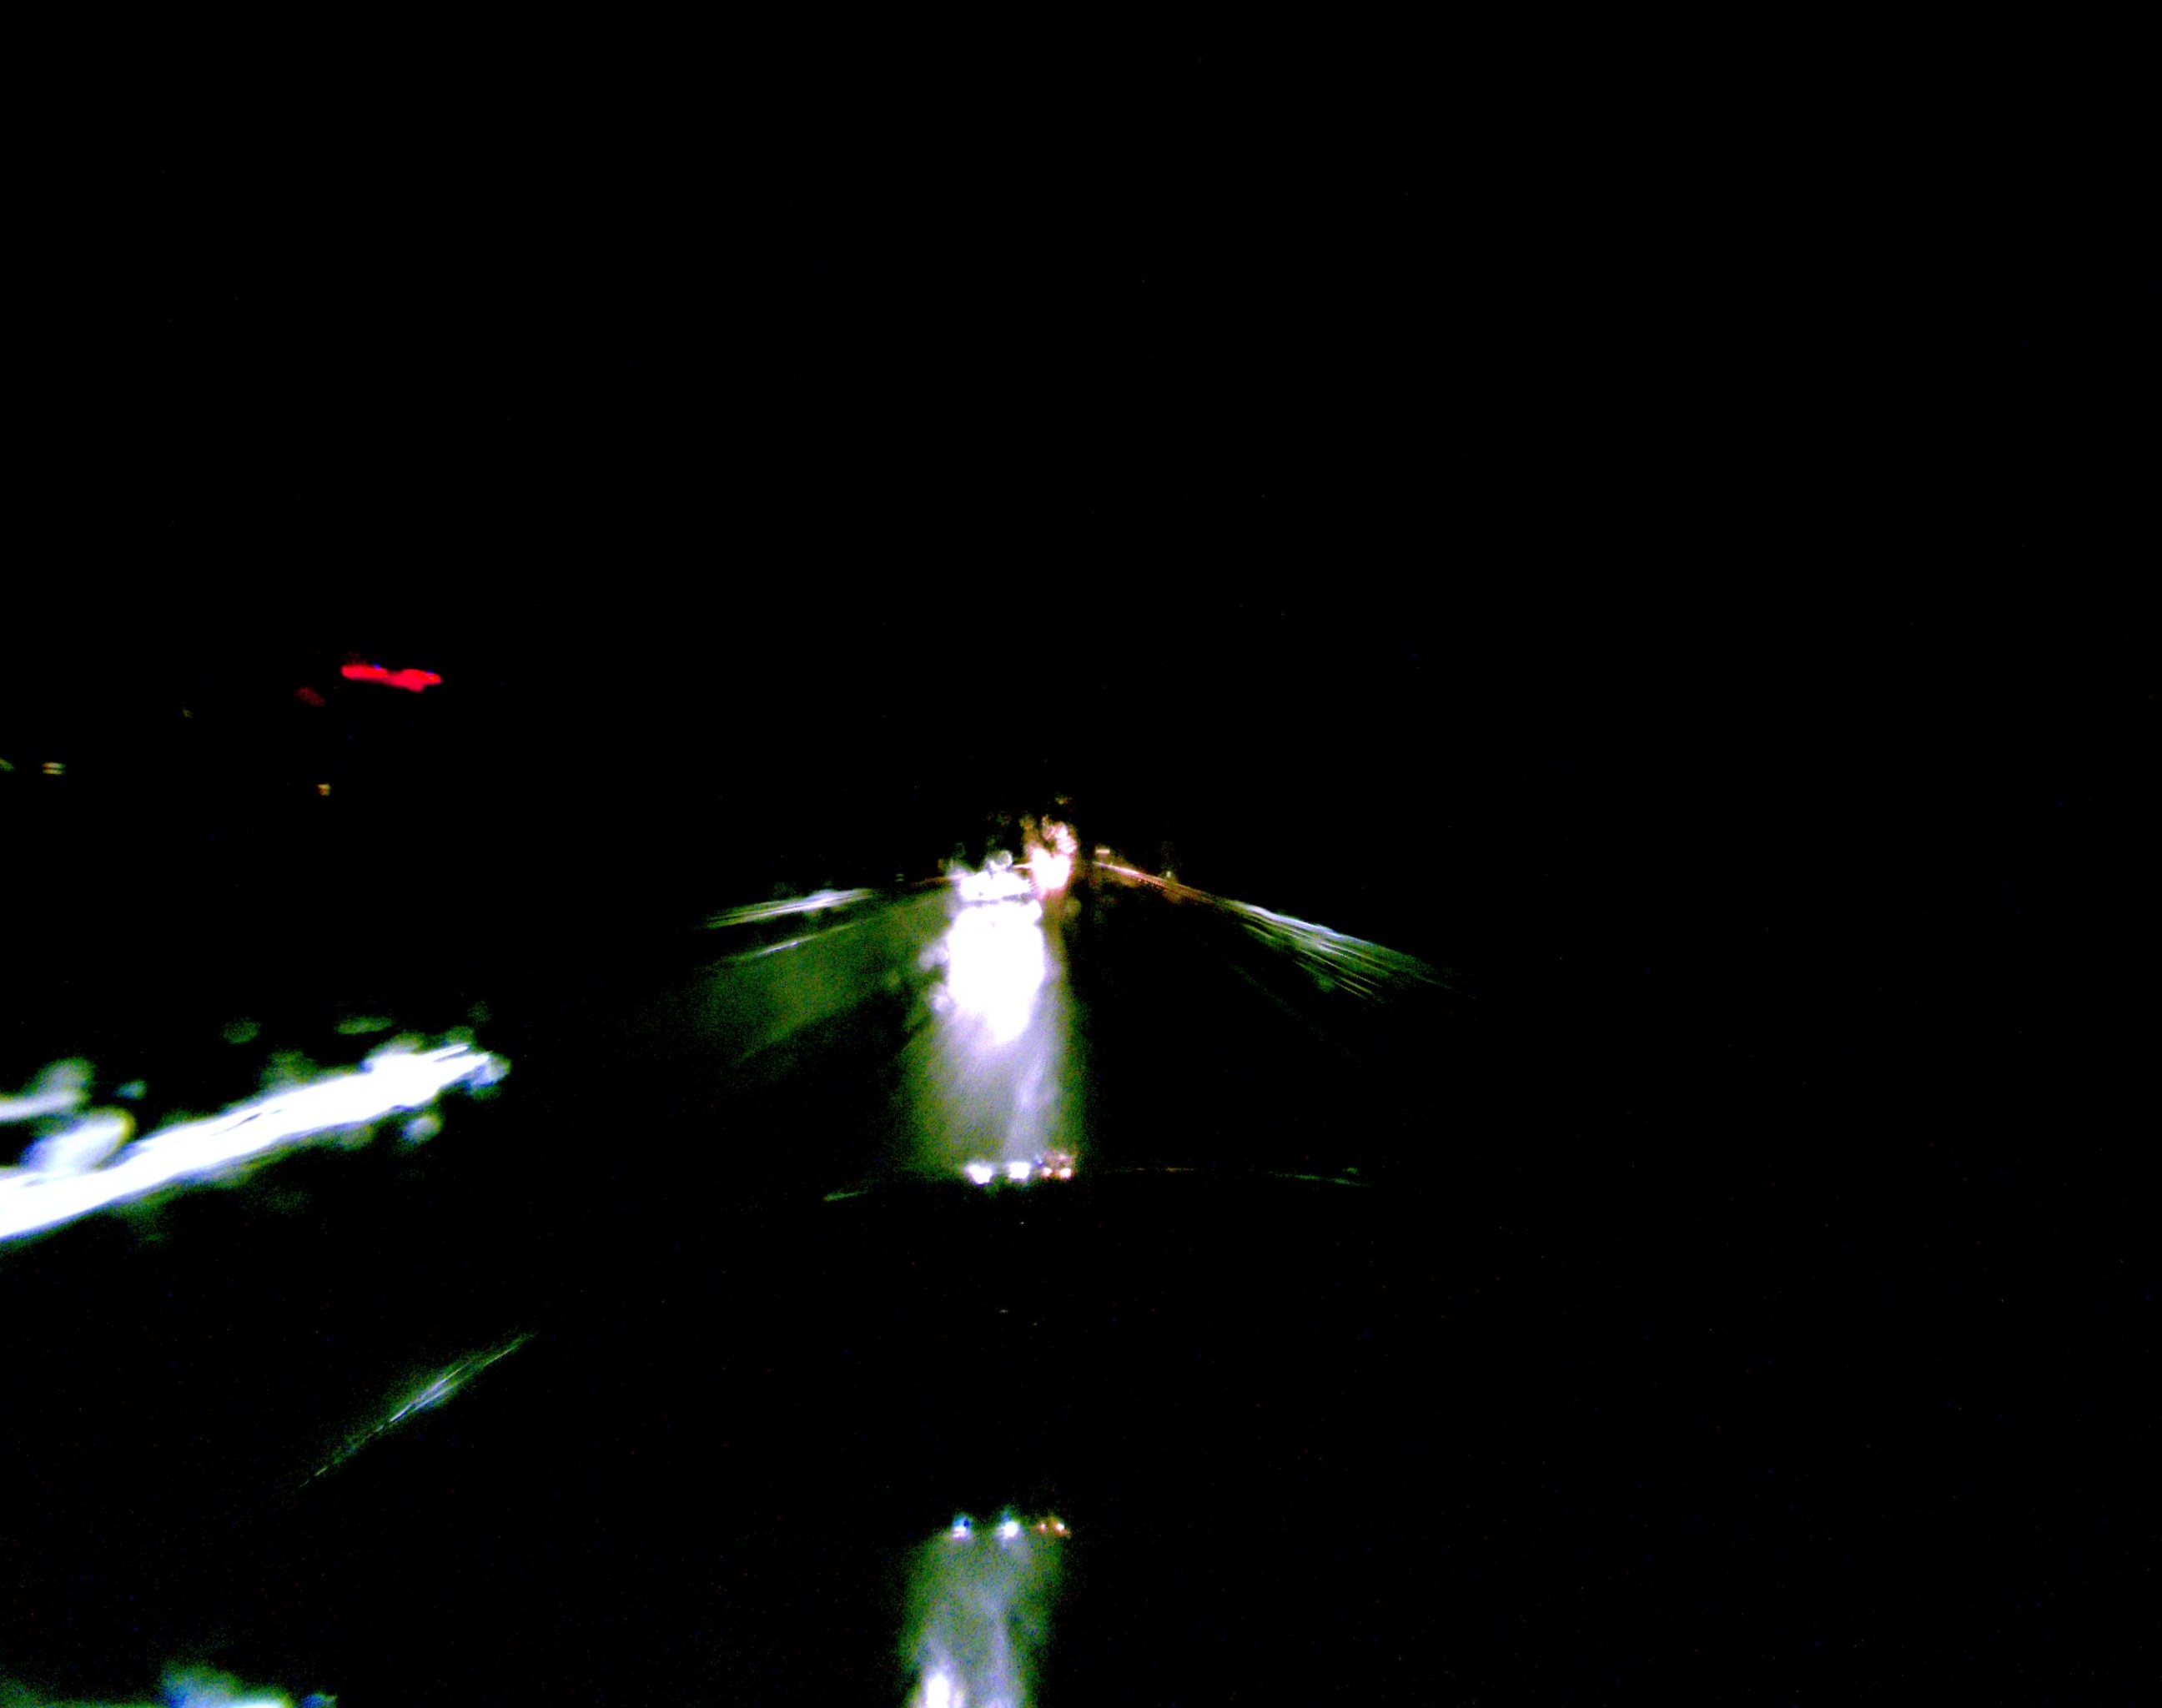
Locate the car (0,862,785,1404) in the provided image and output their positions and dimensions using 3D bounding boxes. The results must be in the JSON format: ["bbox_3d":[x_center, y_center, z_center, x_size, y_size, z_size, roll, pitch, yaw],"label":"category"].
[{"bbox_3d":[-3.382,0.811,4.469,1.826,1.483,4.354,-1,0,1],"label":"car"}]

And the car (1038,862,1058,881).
[{"bbox_3d":[-3.354,1.755,83.219,1.827,1.871,4.427,-1,0,-1],"label":"car"}]

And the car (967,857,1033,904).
[{"bbox_3d":[-2.716,0.848,28.172,1.826,1.483,4.069,-1,0,0],"label":"car"}]
